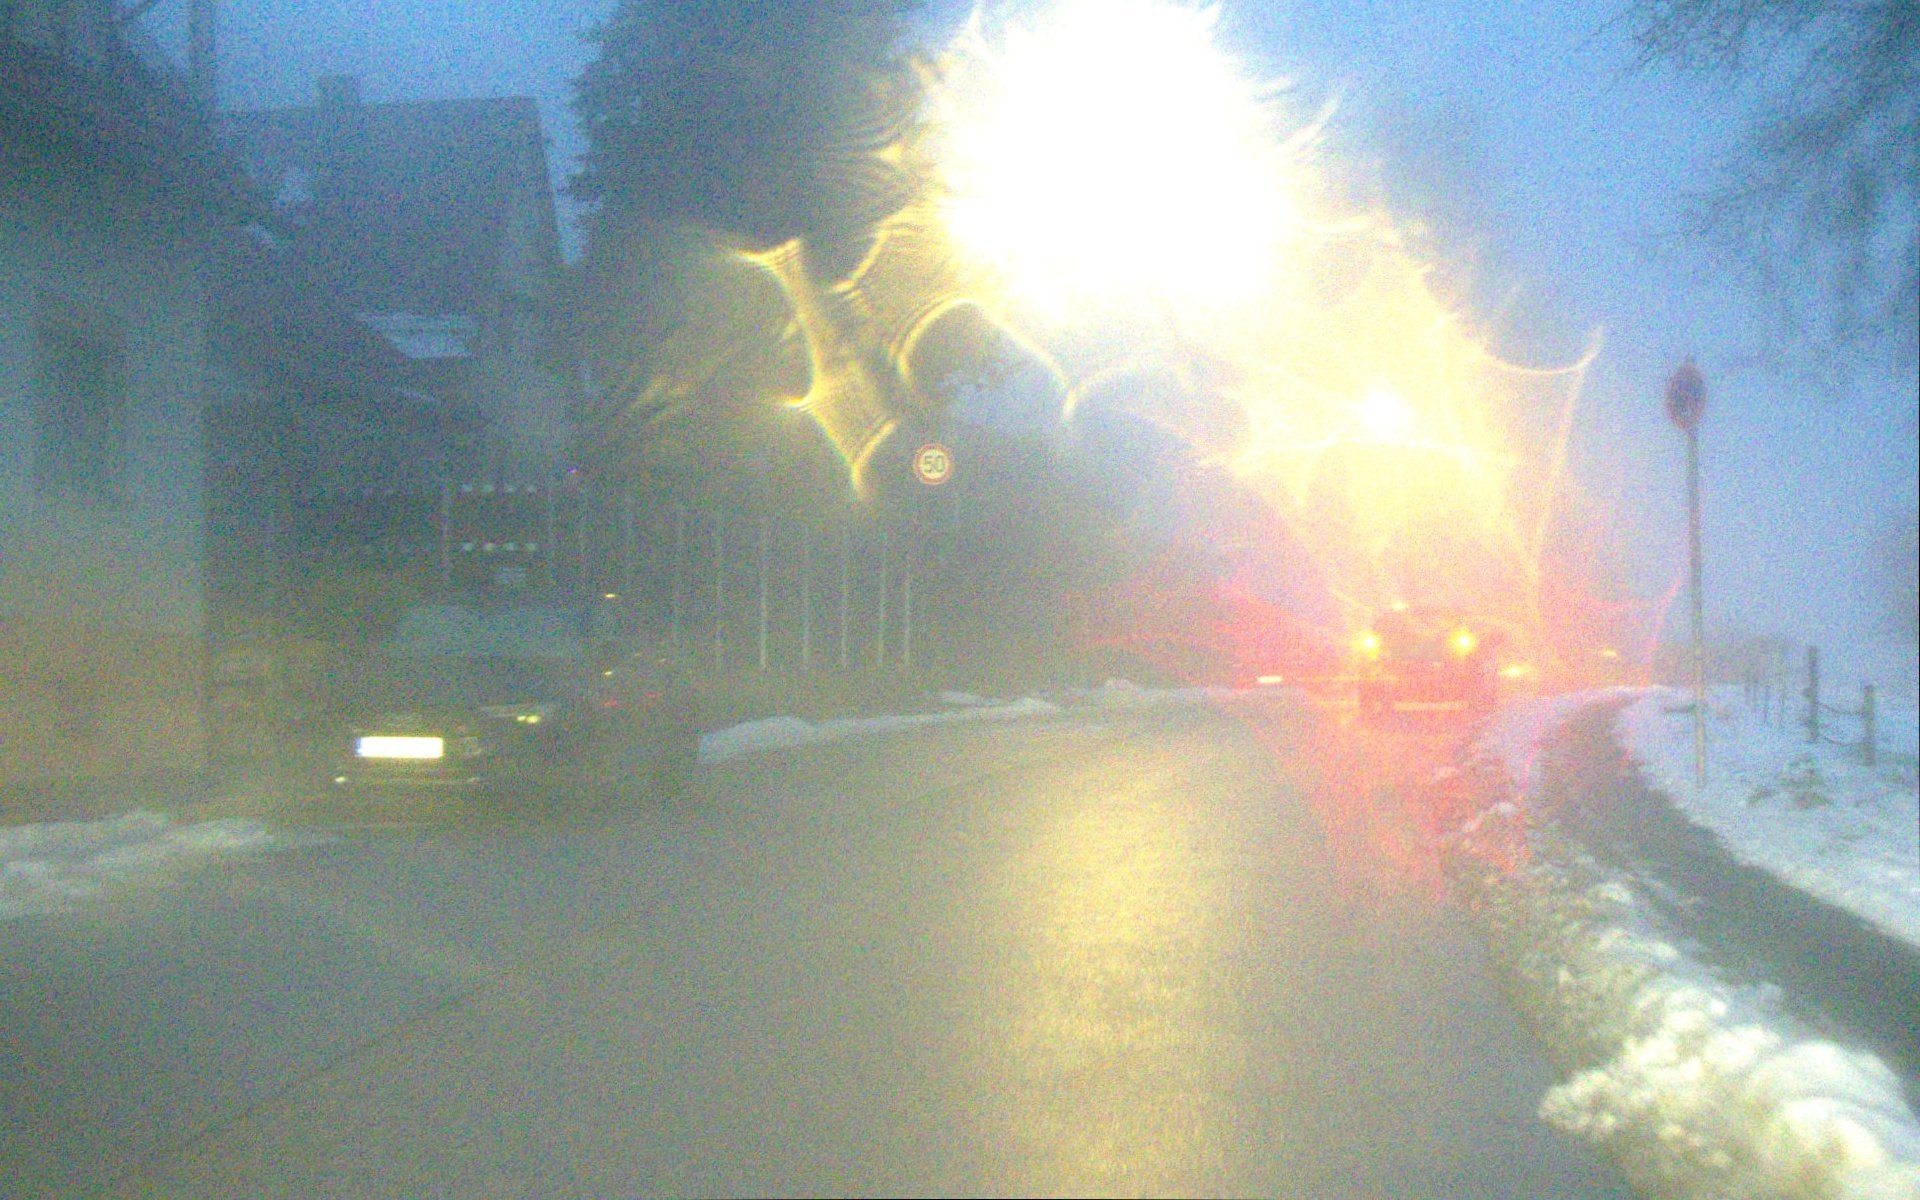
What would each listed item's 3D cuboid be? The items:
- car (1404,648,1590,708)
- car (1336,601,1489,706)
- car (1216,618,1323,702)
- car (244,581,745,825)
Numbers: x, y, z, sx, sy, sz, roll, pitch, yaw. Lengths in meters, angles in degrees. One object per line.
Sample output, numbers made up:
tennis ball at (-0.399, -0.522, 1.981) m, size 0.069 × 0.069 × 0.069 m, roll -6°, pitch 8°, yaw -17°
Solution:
car at (15.413, 2.253, 98.620) m, size 4.892 × 1.480 × 2.121 m, roll -4°, pitch -3°, yaw 20°
car at (6.459, 0.763, 48.779) m, size 1.994 × 1.415 × 3.998 m, roll 0°, pitch -1°, yaw 10°
car at (6.743, 1.346, 75.303) m, size 1.994 × 1.561 × 4.996 m, roll -3°, pitch -3°, yaw 2°
car at (-2.957, 0.602, 23.197) m, size 1.877 × 1.421 × 5.390 m, roll 1°, pitch 0°, yaw 9°
